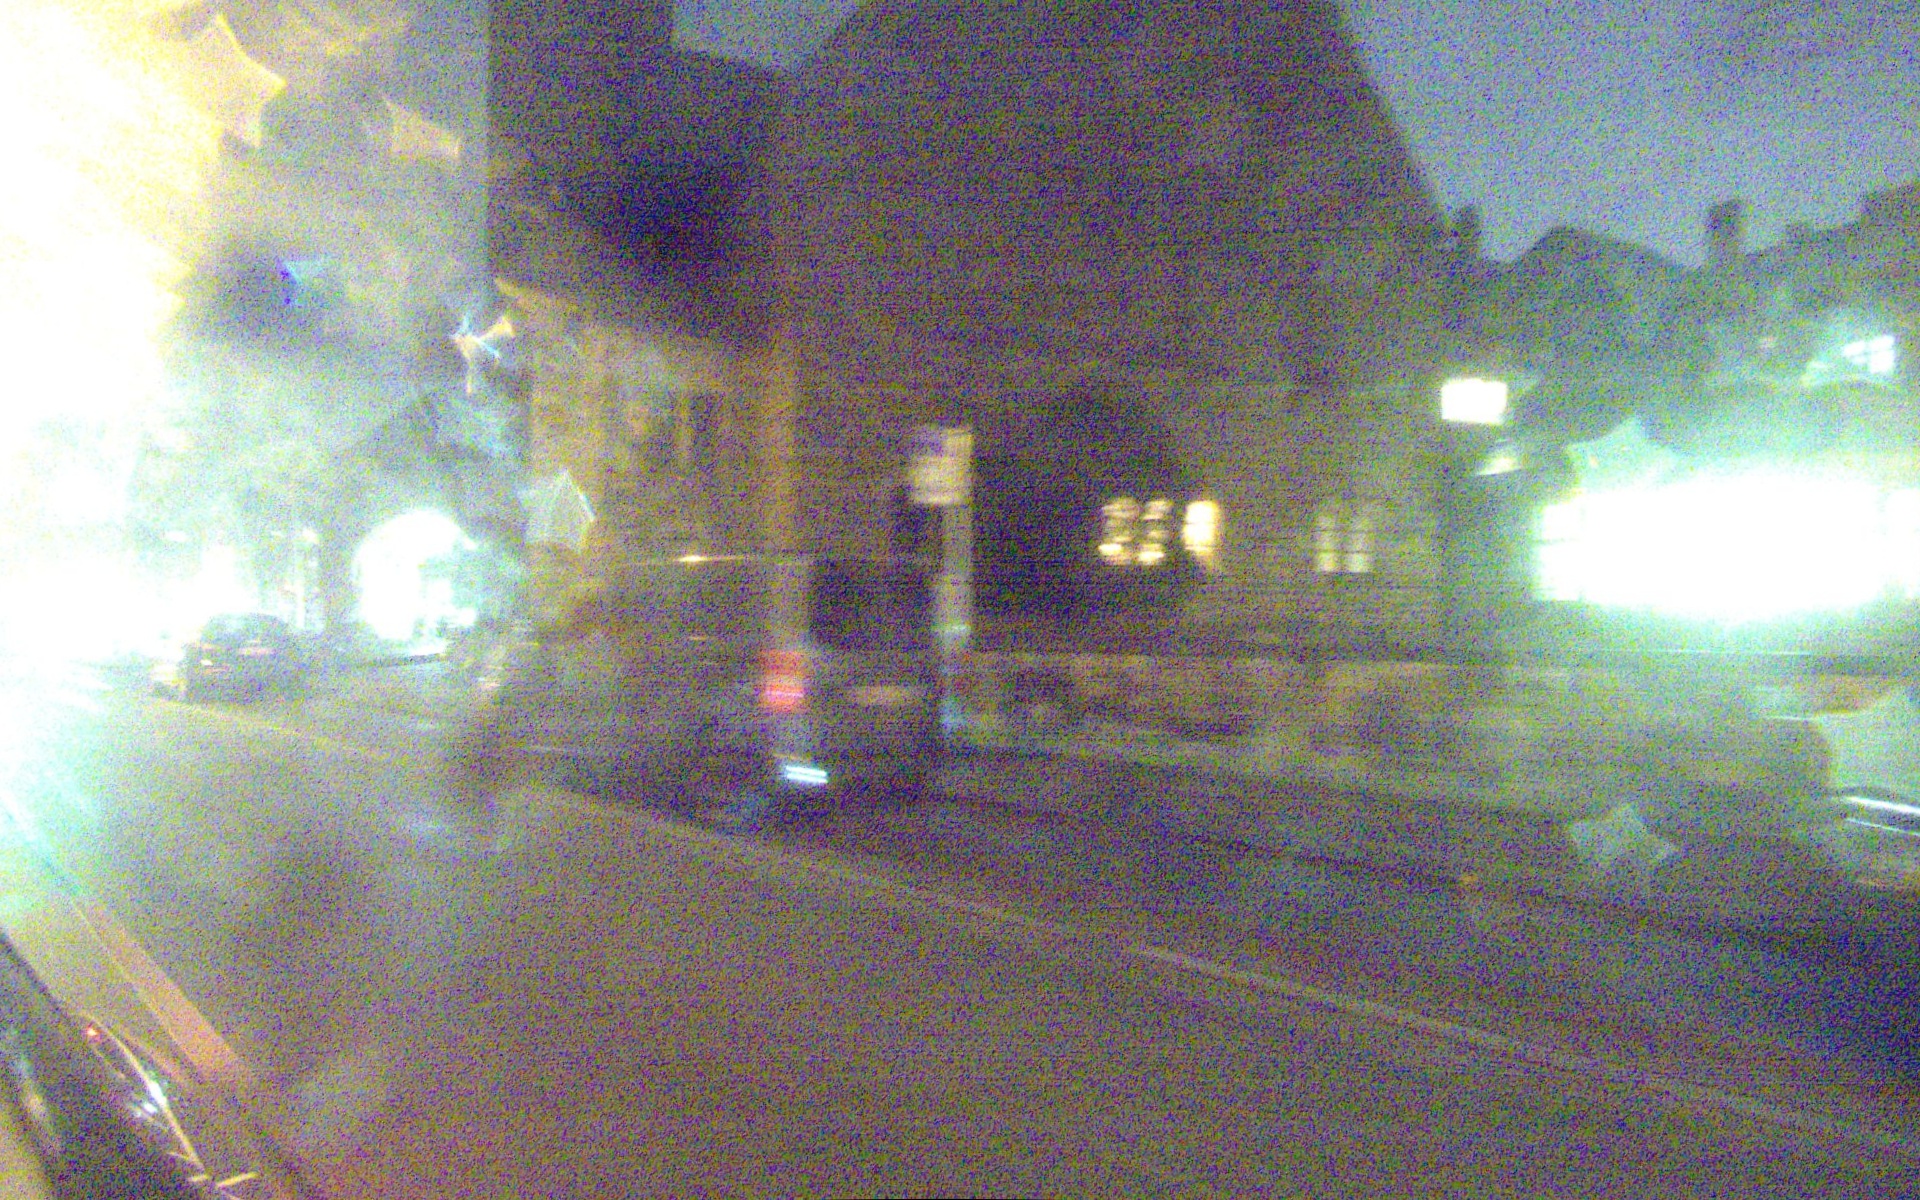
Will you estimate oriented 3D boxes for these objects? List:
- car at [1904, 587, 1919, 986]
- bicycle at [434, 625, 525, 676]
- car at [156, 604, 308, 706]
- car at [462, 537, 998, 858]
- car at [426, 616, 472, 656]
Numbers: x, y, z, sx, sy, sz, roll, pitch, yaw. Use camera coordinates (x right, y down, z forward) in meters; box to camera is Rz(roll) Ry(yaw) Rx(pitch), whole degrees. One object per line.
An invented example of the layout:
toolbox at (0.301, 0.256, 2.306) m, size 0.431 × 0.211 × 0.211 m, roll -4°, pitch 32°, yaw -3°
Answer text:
car at (4.571, 0.667, 2.219) m, size 3.561 × 1.453 × 1.530 m, roll -1°, pitch 0°, yaw 41°
bicycle at (-11.680, 1.216, 24.619) m, size 1.937 × 1.189 × 0.543 m, roll 1°, pitch -2°, yaw -30°
car at (-13.649, 0.960, 18.872) m, size 1.790 × 1.683 × 4.416 m, roll 1°, pitch -2°, yaw -42°
car at (-2.115, 0.620, 8.212) m, size 4.827 × 1.860 × 1.846 m, roll -1°, pitch -2°, yaw 43°
car at (-23.640, 1.696, 46.961) m, size 1.671 × 1.741 × 4.013 m, roll 2°, pitch -3°, yaw -24°
